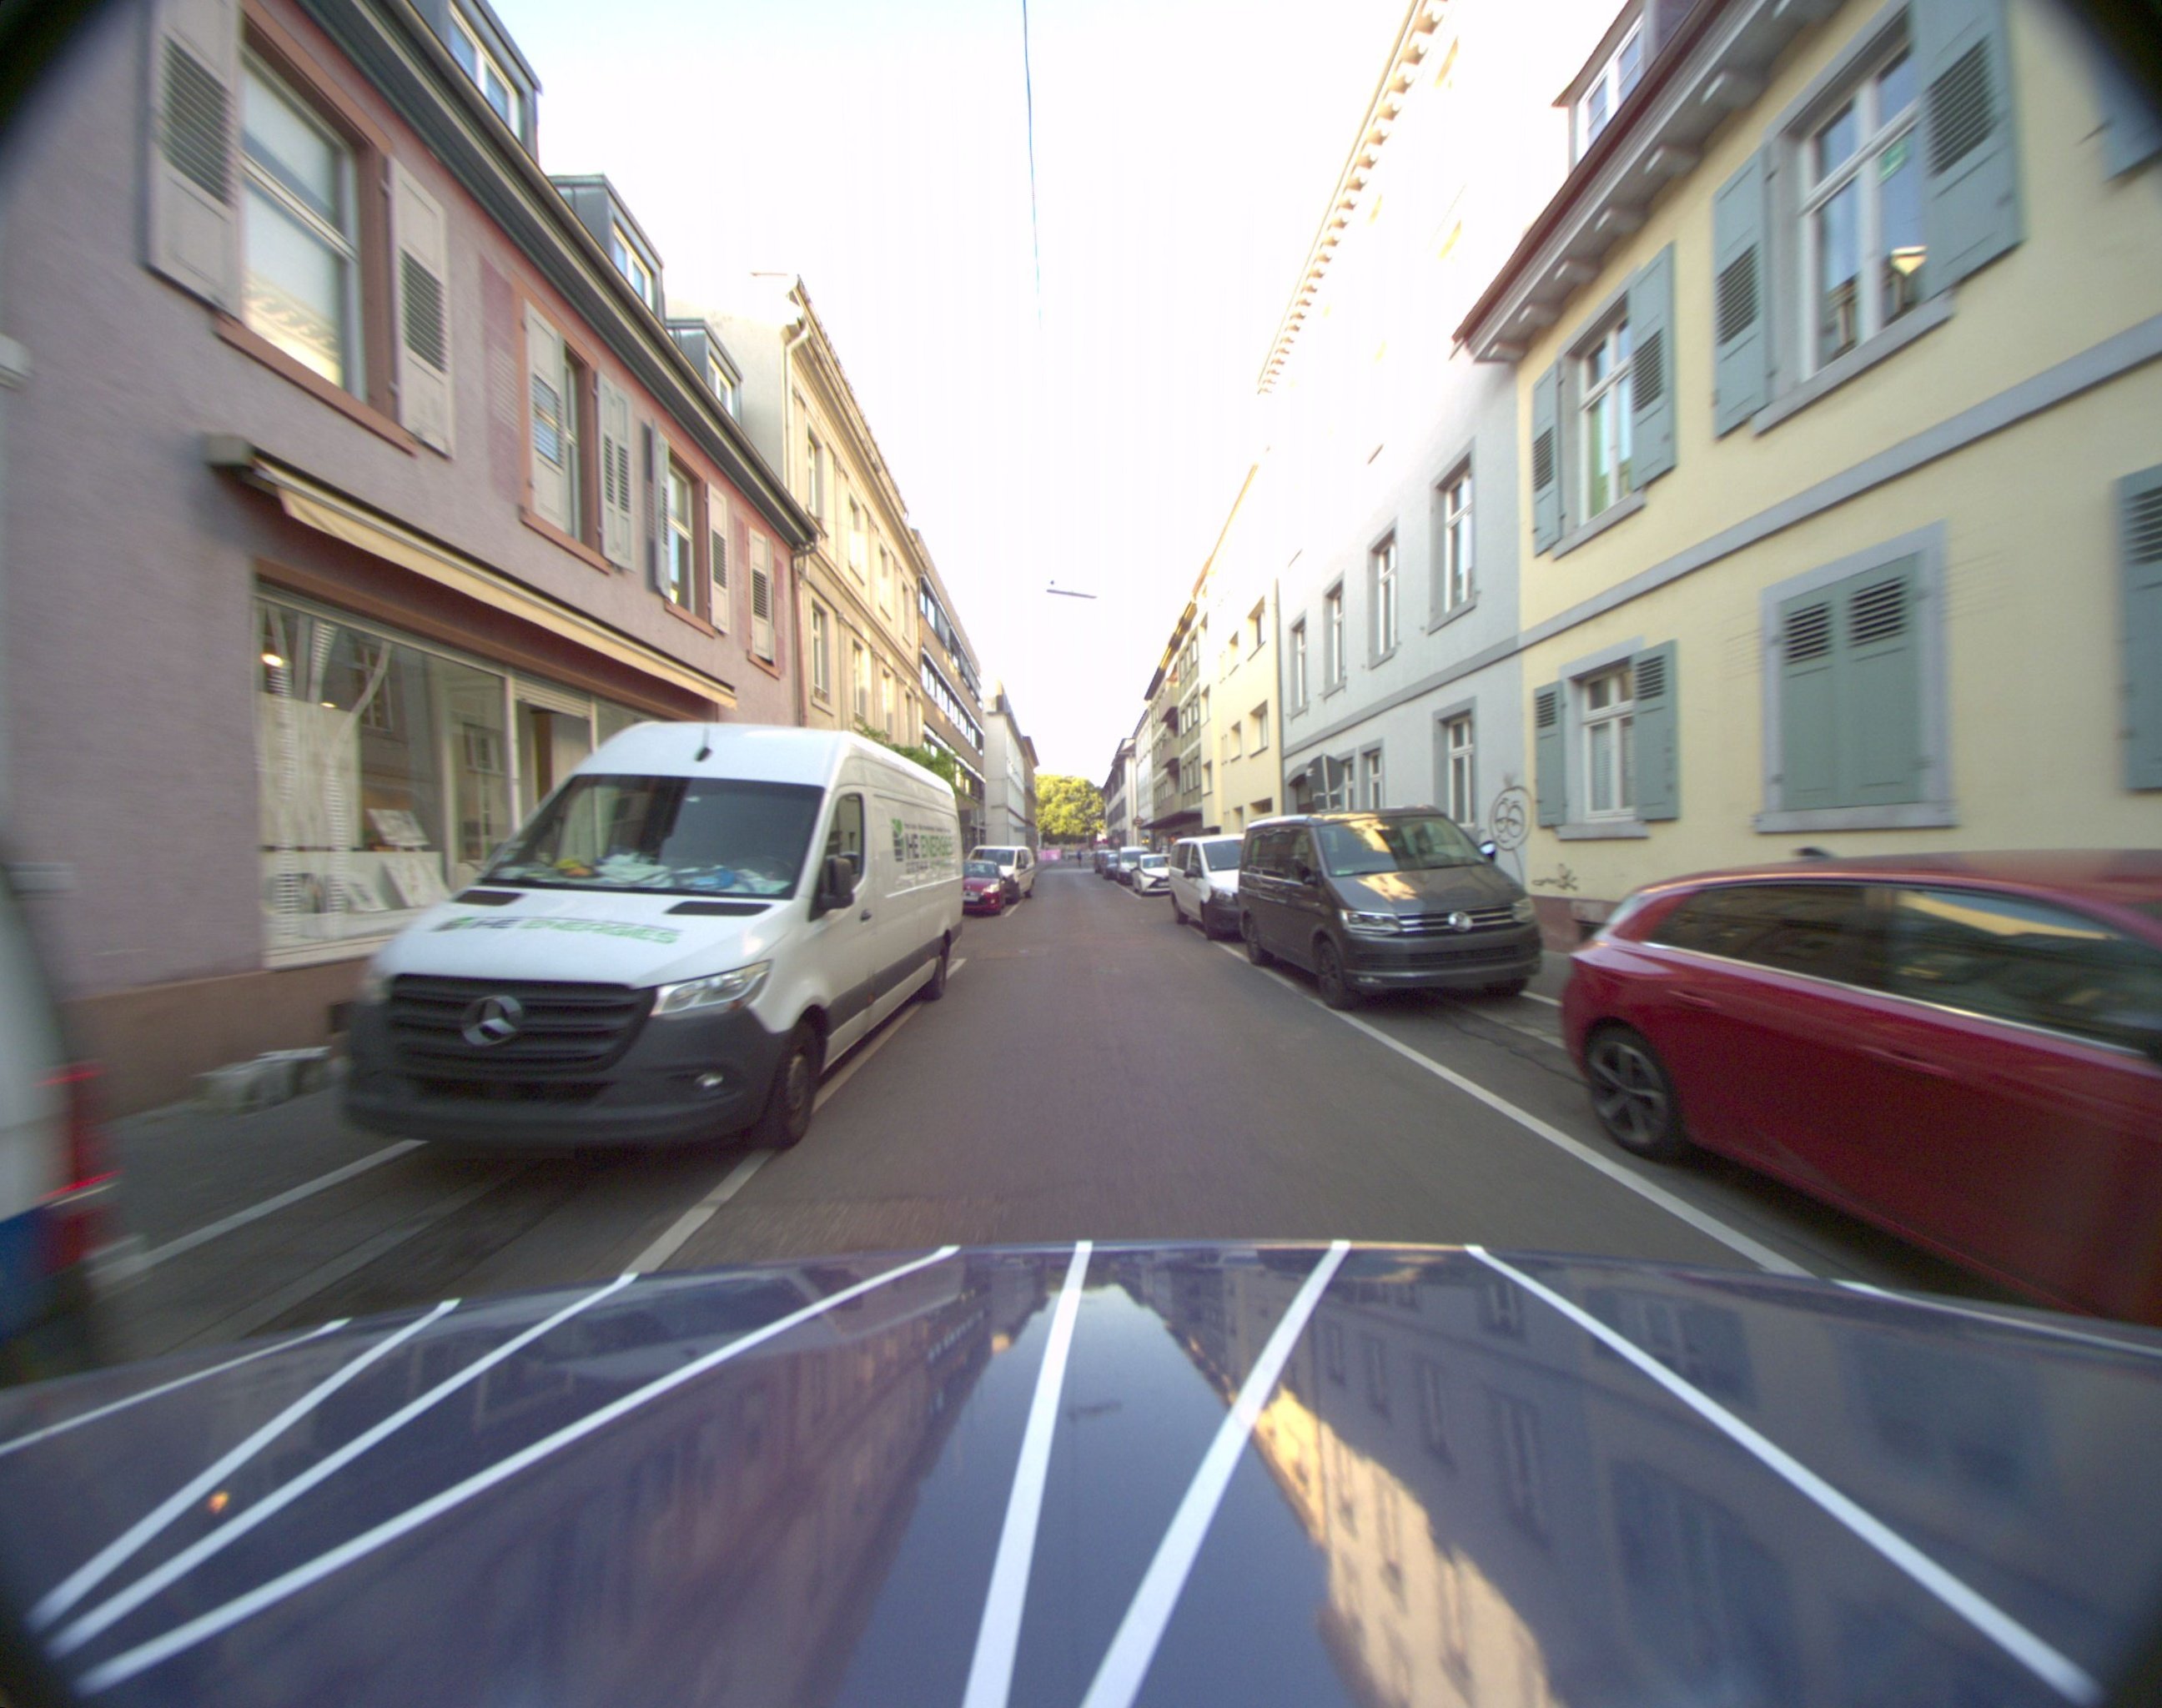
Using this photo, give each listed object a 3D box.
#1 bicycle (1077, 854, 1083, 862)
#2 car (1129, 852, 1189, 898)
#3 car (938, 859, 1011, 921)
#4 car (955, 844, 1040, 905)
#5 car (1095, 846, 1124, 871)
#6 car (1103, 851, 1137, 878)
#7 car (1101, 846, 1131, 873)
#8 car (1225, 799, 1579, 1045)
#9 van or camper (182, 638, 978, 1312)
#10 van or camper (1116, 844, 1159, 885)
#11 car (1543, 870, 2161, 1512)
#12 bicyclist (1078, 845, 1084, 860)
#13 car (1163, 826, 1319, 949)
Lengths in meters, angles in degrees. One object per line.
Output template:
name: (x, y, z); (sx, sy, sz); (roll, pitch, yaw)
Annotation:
bicycle: (-0.069, 0.442, 84.016); (0.635, 0.916, 1.779); (-2, 1, 0)
car: (2.816, 0.716, 28.058); (1.666, 1.440, 3.520); (-5, 1, -1)
car: (-2.896, 0.940, 21.365); (1.659, 1.496, 3.752); (-1, 0, -3)
car: (-2.767, 0.640, 26.541); (1.940, 1.887, 5.278); (-1, 0, 5)
car: (2.230, 0.329, 60.626); (1.882, 1.801, 4.449); (-2, 1, -4)
car: (2.296, 0.580, 45.219); (1.628, 1.408, 3.979); (-2, 1, -2)
car: (2.493, 0.376, 55.498); (1.777, 1.801, 4.509); (-2, 1, -2)
car: (3.143, 0.547, 8.728); (1.867, 2.002, 4.812); (-1, 0, -2)
van or camper: (-2.444, 0.464, 6.528); (2.055, 2.622, 7.061); (-1, 0, 0)
van or camper: (2.691, 0.467, 37.100); (1.777, 1.837, 4.178); (-1, 1, 0)
car: (3.430, 0.836, 2.031); (1.769, 1.393, 4.262); (-2, 1, 0)
bicyclist: (-0.030, -0.172, 84.138); (0.625, 1.630, 1.081); (-2, 1, 0)
car: (2.948, 0.547, 15.222); (1.867, 2.002, 5.104); (-1, 0, -2)
